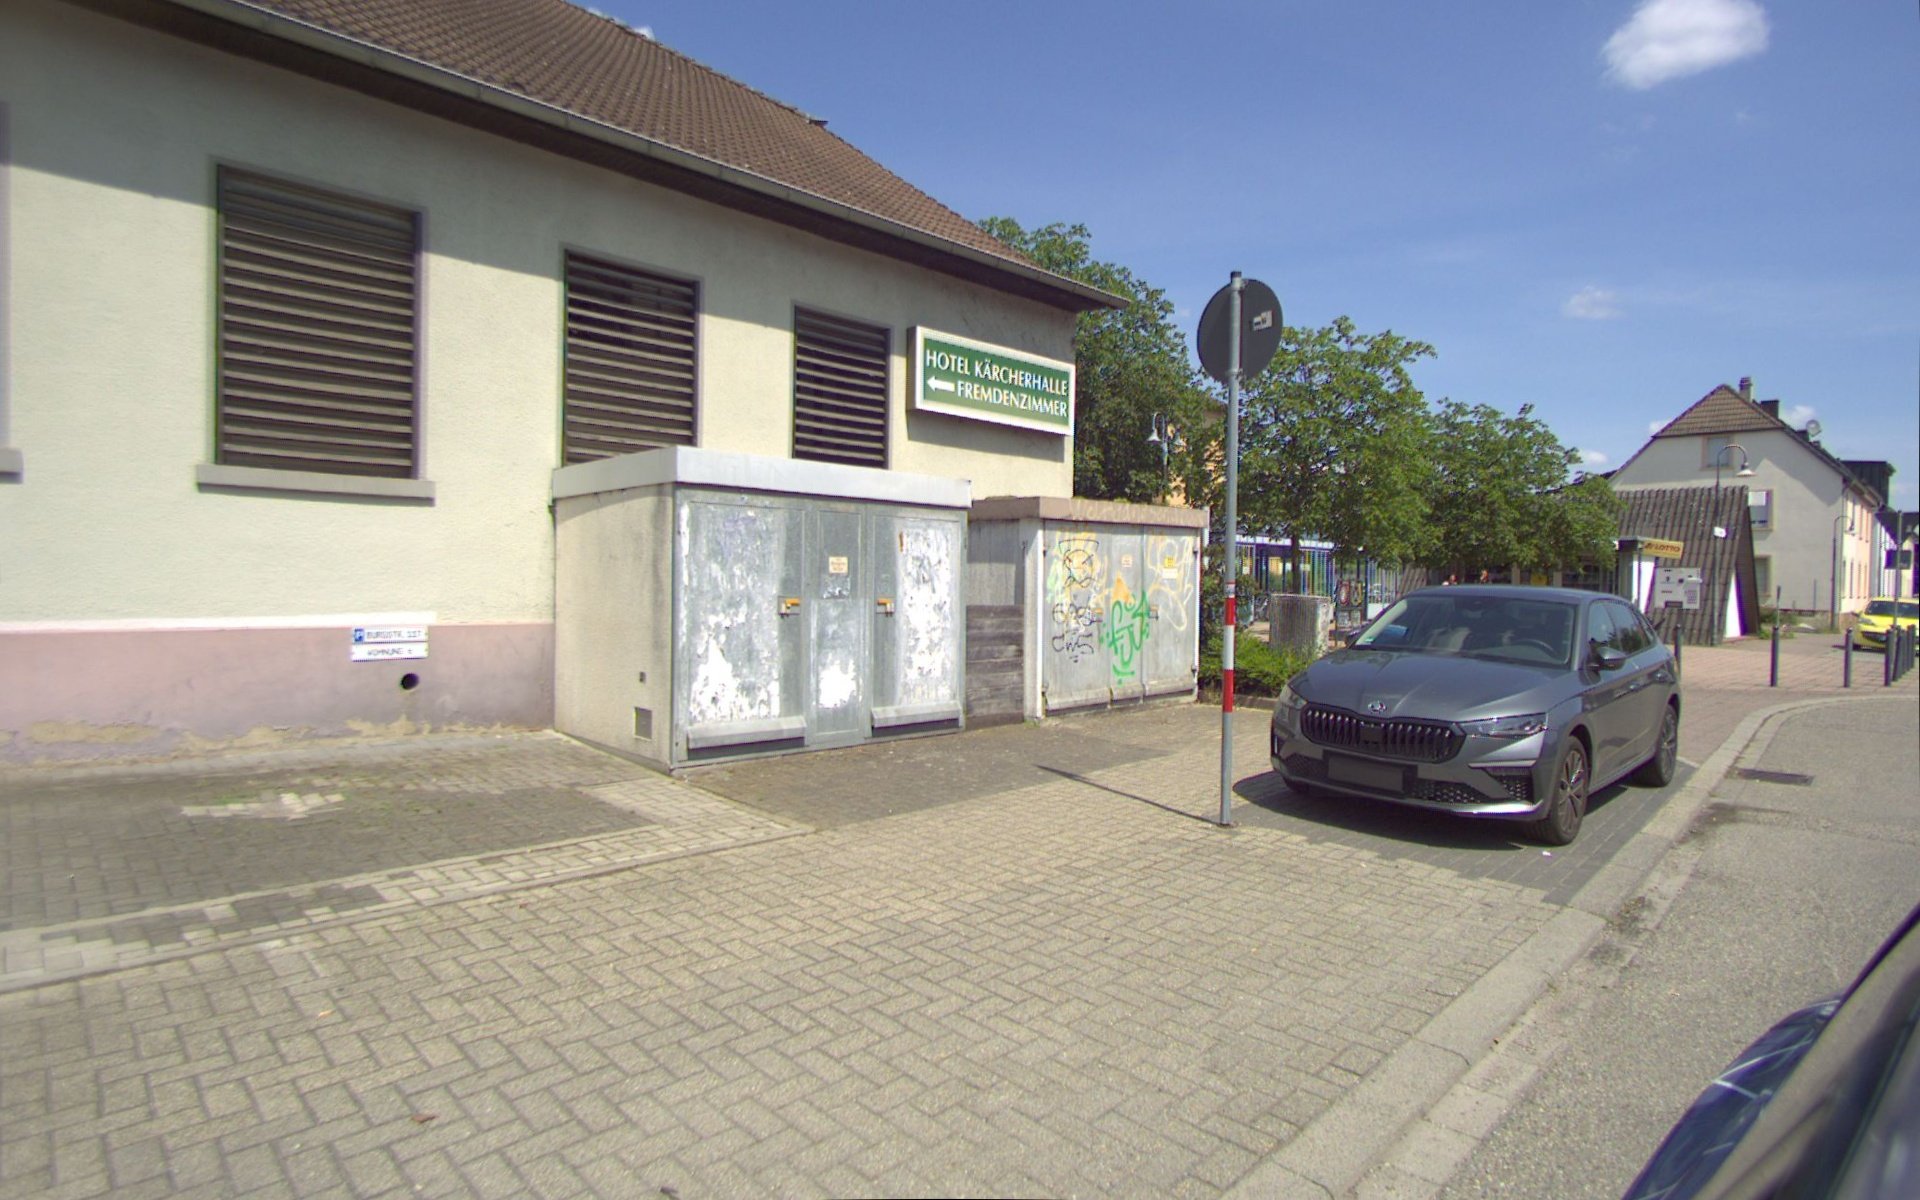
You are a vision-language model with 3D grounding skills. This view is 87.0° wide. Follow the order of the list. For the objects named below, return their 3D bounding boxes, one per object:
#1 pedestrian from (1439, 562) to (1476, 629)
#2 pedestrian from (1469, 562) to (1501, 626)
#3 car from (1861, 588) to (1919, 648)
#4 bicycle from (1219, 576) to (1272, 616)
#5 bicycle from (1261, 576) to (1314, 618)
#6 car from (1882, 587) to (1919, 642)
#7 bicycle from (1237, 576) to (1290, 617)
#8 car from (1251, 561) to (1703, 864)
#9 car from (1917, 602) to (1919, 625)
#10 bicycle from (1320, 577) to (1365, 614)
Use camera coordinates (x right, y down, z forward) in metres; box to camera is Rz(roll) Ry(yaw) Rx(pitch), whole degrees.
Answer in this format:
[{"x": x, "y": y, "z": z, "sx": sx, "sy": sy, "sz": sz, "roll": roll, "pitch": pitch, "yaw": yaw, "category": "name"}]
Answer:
[{"x": 13.652, "y": -0.125, "z": 27.791, "sx": 0.667, "sy": 1.811, "sz": 0.550, "roll": 1, "pitch": 1, "yaw": -2, "category": "pedestrian"}, {"x": 14.441, "y": -0.170, "z": 27.836, "sx": 0.586, "sy": 1.741, "sz": 0.464, "roll": 1, "pitch": 1, "yaw": -2, "category": "pedestrian"}, {"x": 25.458, "y": 0.478, "z": 26.988, "sx": 4.145, "sy": 1.414, "sz": 1.719, "roll": 0, "pitch": 5, "yaw": -44, "category": "car"}, {"x": 10.046, "y": -0.147, "z": 35.534, "sx": 2.311, "sy": 1.367, "sz": 0.605, "roll": 0, "pitch": 2, "yaw": -41, "category": "bicycle"}, {"x": 11.173, "y": -0.096, "z": 34.456, "sx": 2.311, "sy": 1.367, "sz": 0.605, "roll": 0, "pitch": 2, "yaw": -41, "category": "bicycle"}, {"x": 28.791, "y": 0.443, "z": 30.044, "sx": 4.145, "sy": 1.518, "sz": 1.719, "roll": 0, "pitch": 5, "yaw": -44, "category": "car"}, {"x": 10.480, "y": -0.139, "z": 34.890, "sx": 2.311, "sy": 1.367, "sz": 0.605, "roll": 0, "pitch": 2, "yaw": -41, "category": "bicycle"}, {"x": 3.816, "y": 0.533, "z": 7.098, "sx": 1.629, "sy": 1.507, "sz": 4.072, "roll": 3, "pitch": 2, "yaw": 45, "category": "car"}, {"x": 44.617, "y": 0.438, "z": 45.676, "sx": 4.145, "sy": 1.518, "sz": 1.719, "roll": 0, "pitch": 5, "yaw": -44, "category": "car"}, {"x": 14.760, "y": -0.189, "z": 39.010, "sx": 2.311, "sy": 1.367, "sz": 0.605, "roll": 0, "pitch": 2, "yaw": -41, "category": "bicycle"}]
